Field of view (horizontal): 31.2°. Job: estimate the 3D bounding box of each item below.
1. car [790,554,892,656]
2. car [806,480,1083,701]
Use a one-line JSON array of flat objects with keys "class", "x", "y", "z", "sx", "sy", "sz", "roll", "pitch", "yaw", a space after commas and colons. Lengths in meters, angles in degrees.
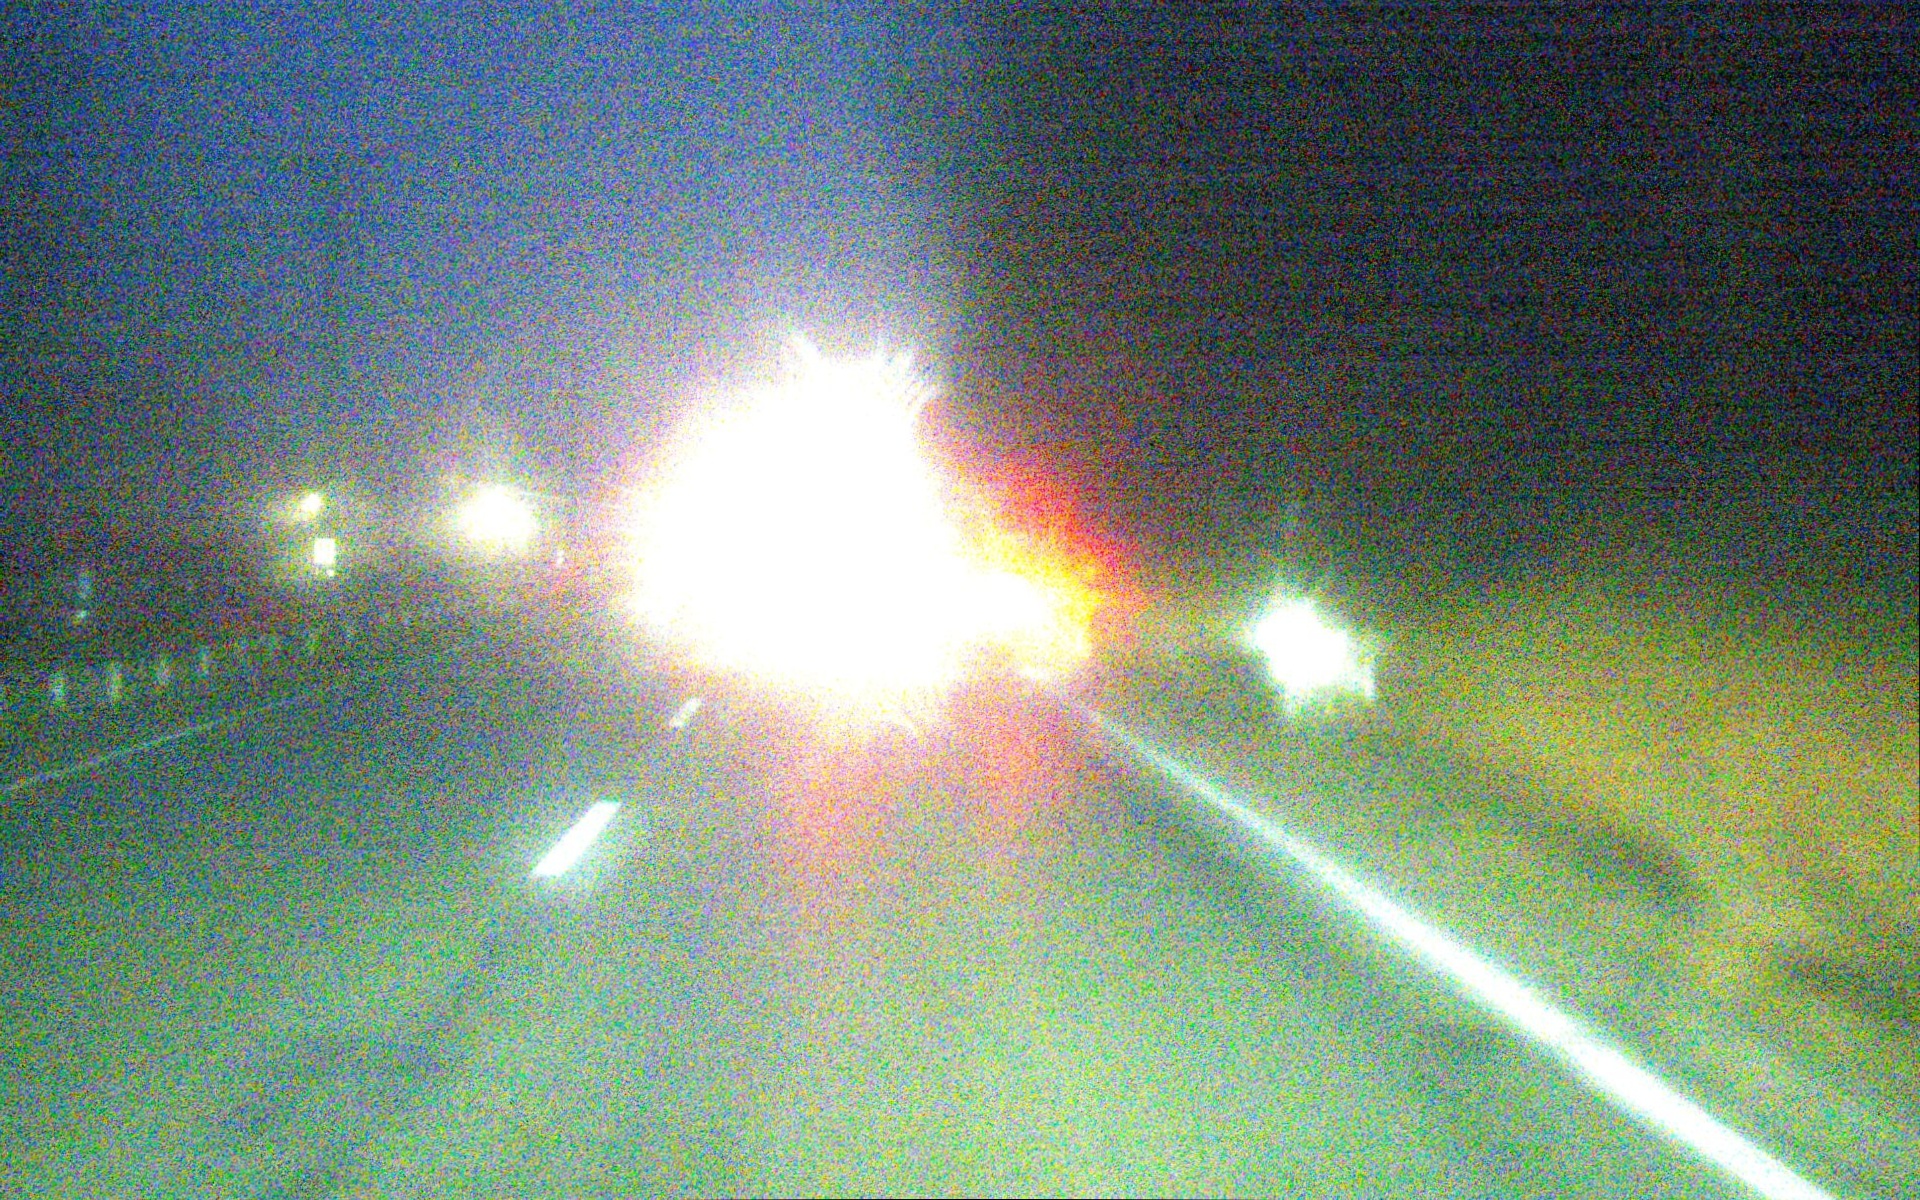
[{"class": "car", "x": -2.491, "y": 0.105, "z": 71.234, "sx": 1.993, "sy": 2.007, "sz": 4.000, "roll": -2, "pitch": 0, "yaw": -3}, {"class": "car", "x": -0.216, "y": -0.115, "z": 33.005, "sx": 2.457, "sy": 1.952, "sz": 4.912, "roll": 0, "pitch": 1, "yaw": -2}]
